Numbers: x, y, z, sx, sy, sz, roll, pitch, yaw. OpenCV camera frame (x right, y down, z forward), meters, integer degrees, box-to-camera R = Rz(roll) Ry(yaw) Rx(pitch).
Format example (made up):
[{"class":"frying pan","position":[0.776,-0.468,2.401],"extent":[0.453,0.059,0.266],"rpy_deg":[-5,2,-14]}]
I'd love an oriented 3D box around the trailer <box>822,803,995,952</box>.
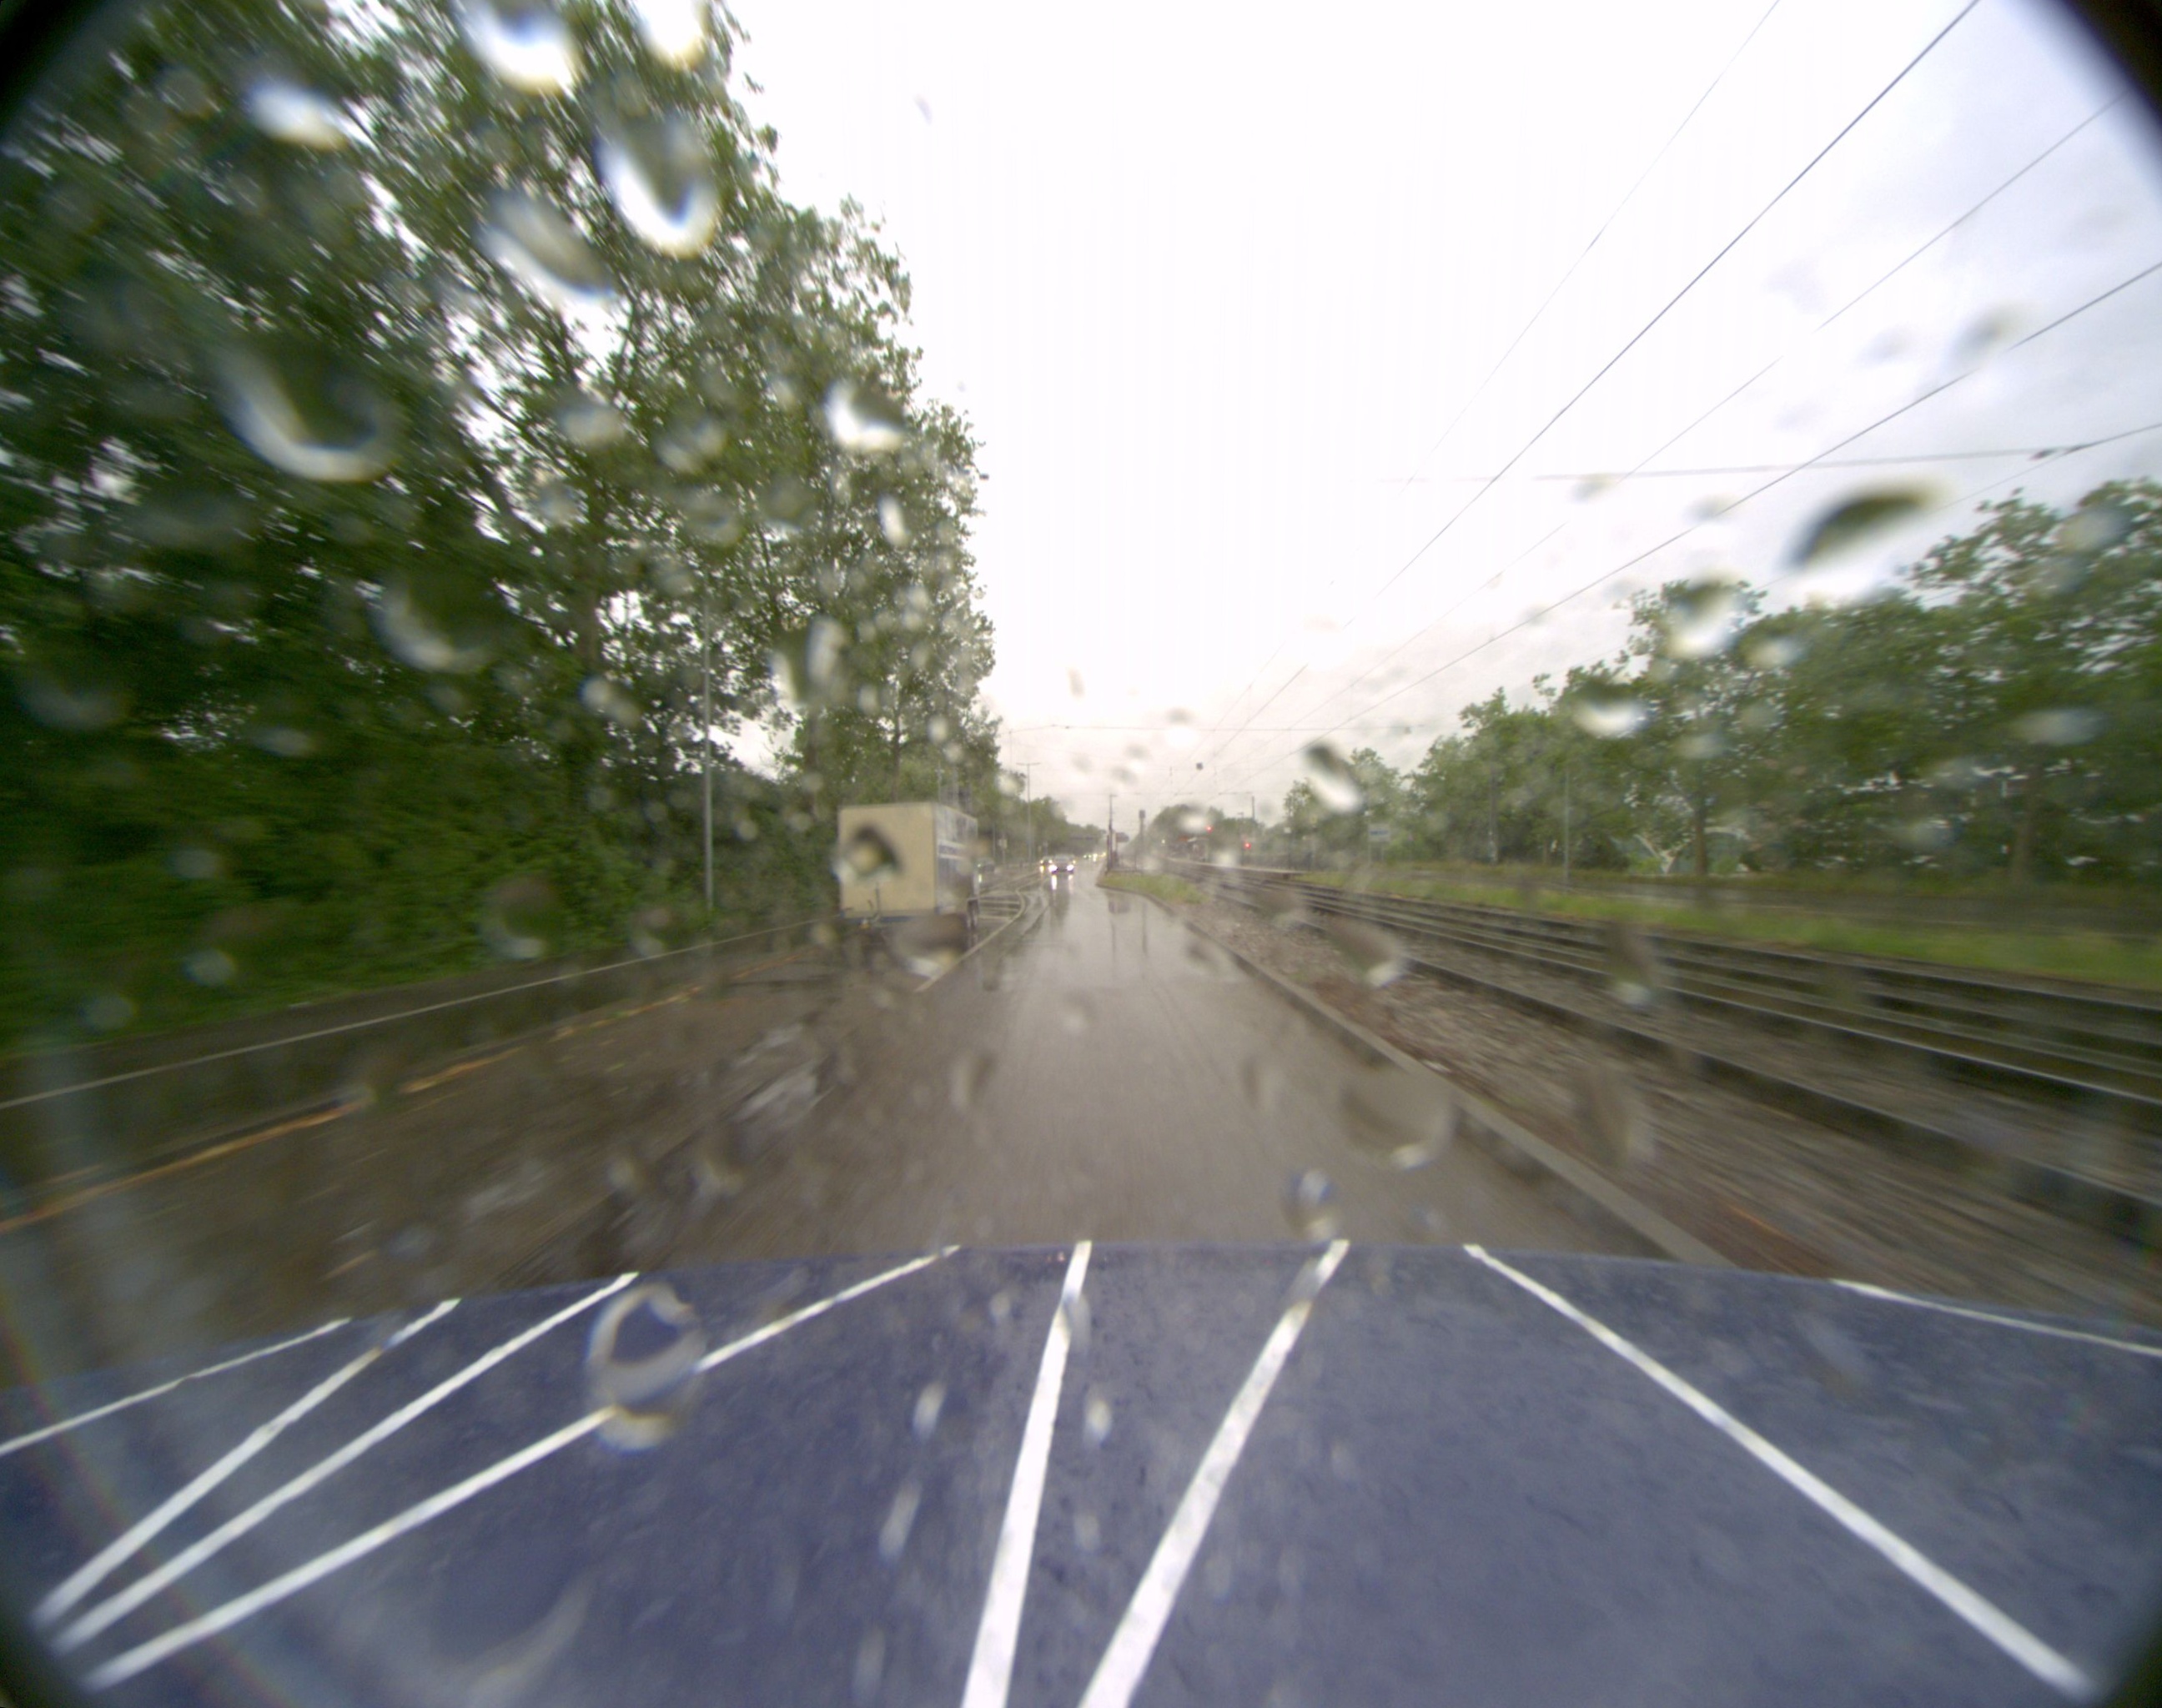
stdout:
[{"class":"trailer","position":[-3.557,0.392,17.064],"extent":[2.170,2.742,5.677],"rpy_deg":[-1,1,4]}]

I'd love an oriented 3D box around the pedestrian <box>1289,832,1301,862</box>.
[{"class":"pedestrian","position":[29.482,-0.989,104.636],"extent":[1.169,4.006,1.522],"rpy_deg":[-1,2,30]}]

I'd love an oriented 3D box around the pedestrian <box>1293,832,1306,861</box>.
[{"class":"pedestrian","position":[30.923,-1.073,107.505],"extent":[1.172,4.006,1.518],"rpy_deg":[-2,1,-9]}]

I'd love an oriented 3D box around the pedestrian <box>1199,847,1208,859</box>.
[{"class":"pedestrian","position":[14.734,-0.125,91.333],"extent":[0.833,1.309,0.858],"rpy_deg":[-2,1,2]}]

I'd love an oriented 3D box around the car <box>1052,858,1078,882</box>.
[{"class":"car","position":[-1.398,1.392,67.471],"extent":[1.998,2.002,4.000],"rpy_deg":[-1,1,3]}]
